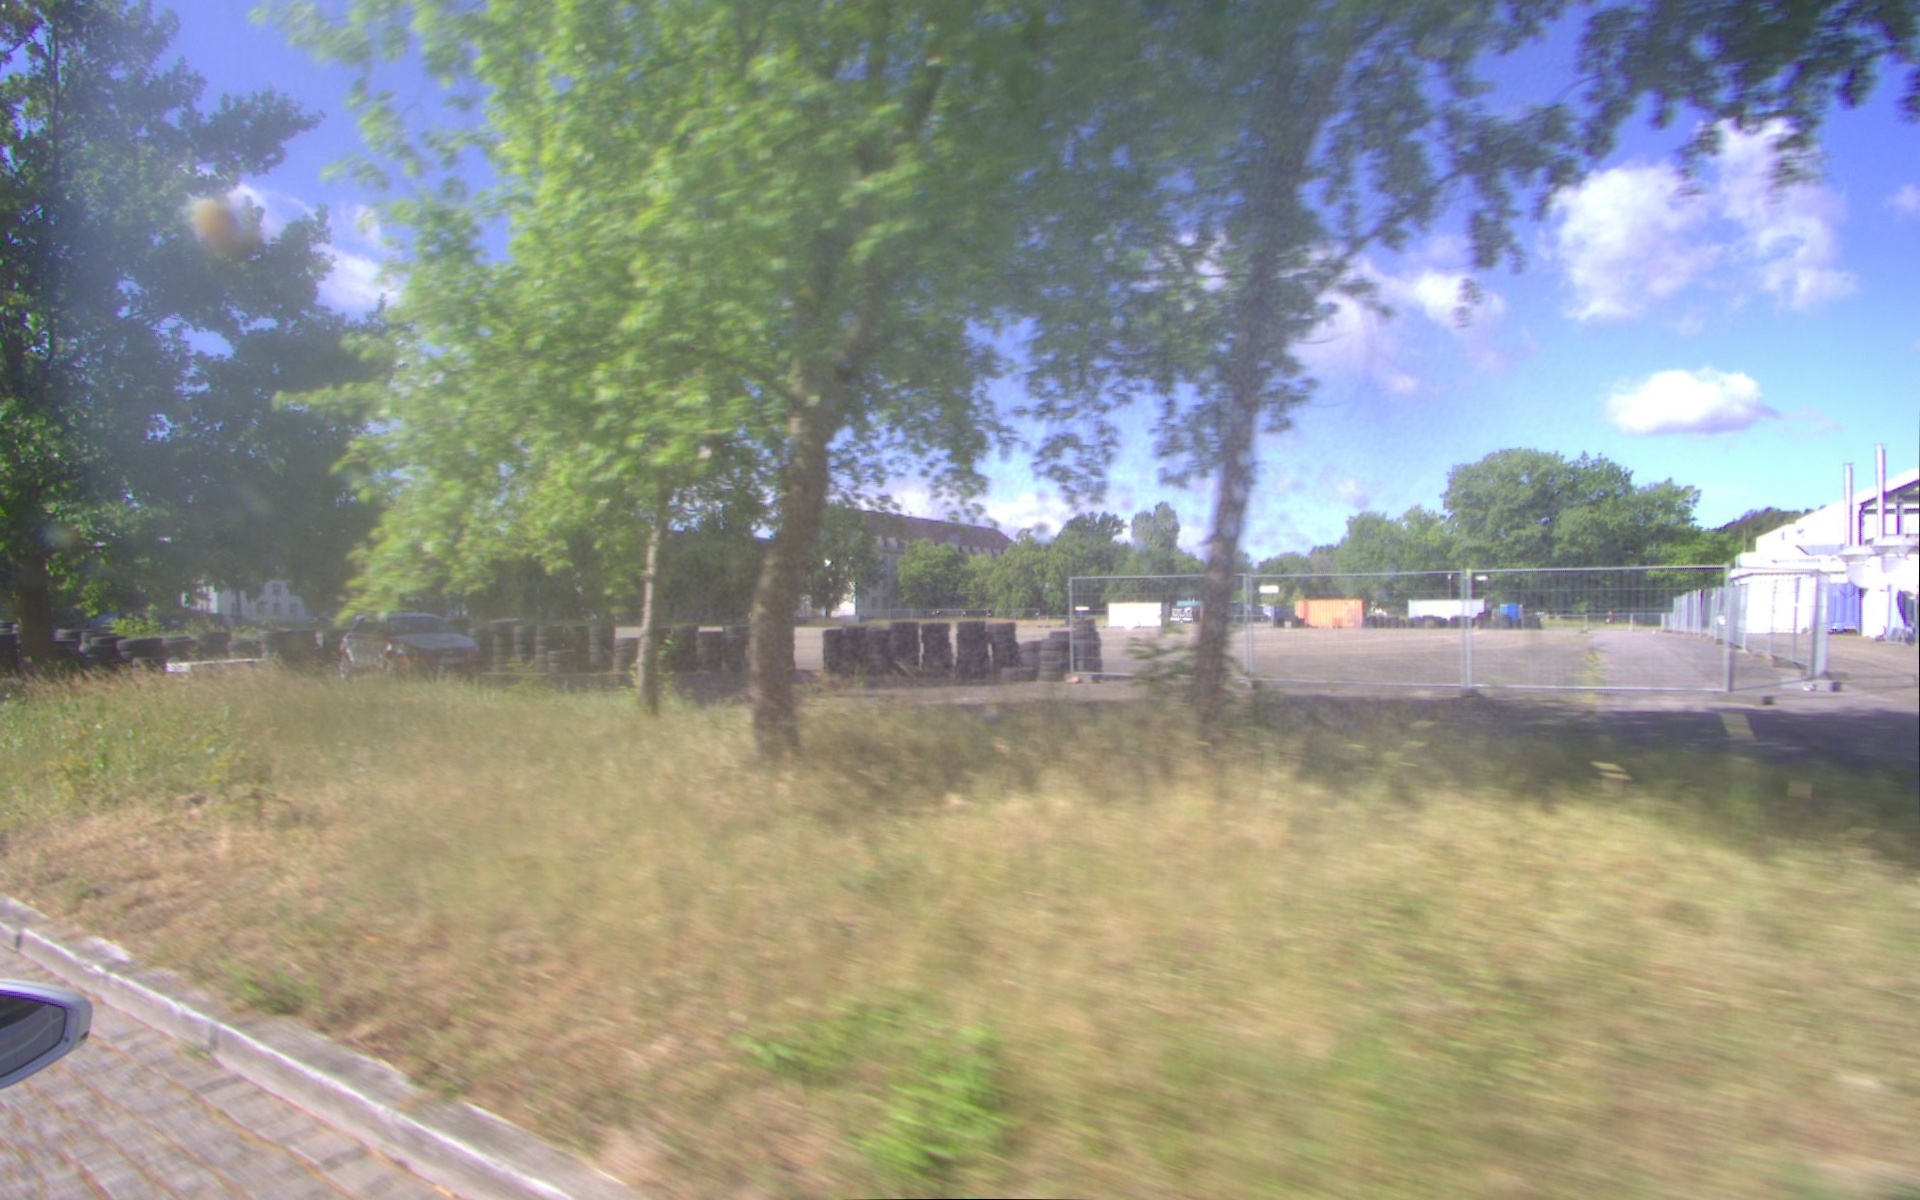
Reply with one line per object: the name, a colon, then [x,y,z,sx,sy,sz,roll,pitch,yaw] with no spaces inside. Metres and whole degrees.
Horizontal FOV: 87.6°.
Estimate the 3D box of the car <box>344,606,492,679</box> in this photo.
car: [-11.508,0.856,21.190,3.533,1.425,1.534,-1,-1,39]
